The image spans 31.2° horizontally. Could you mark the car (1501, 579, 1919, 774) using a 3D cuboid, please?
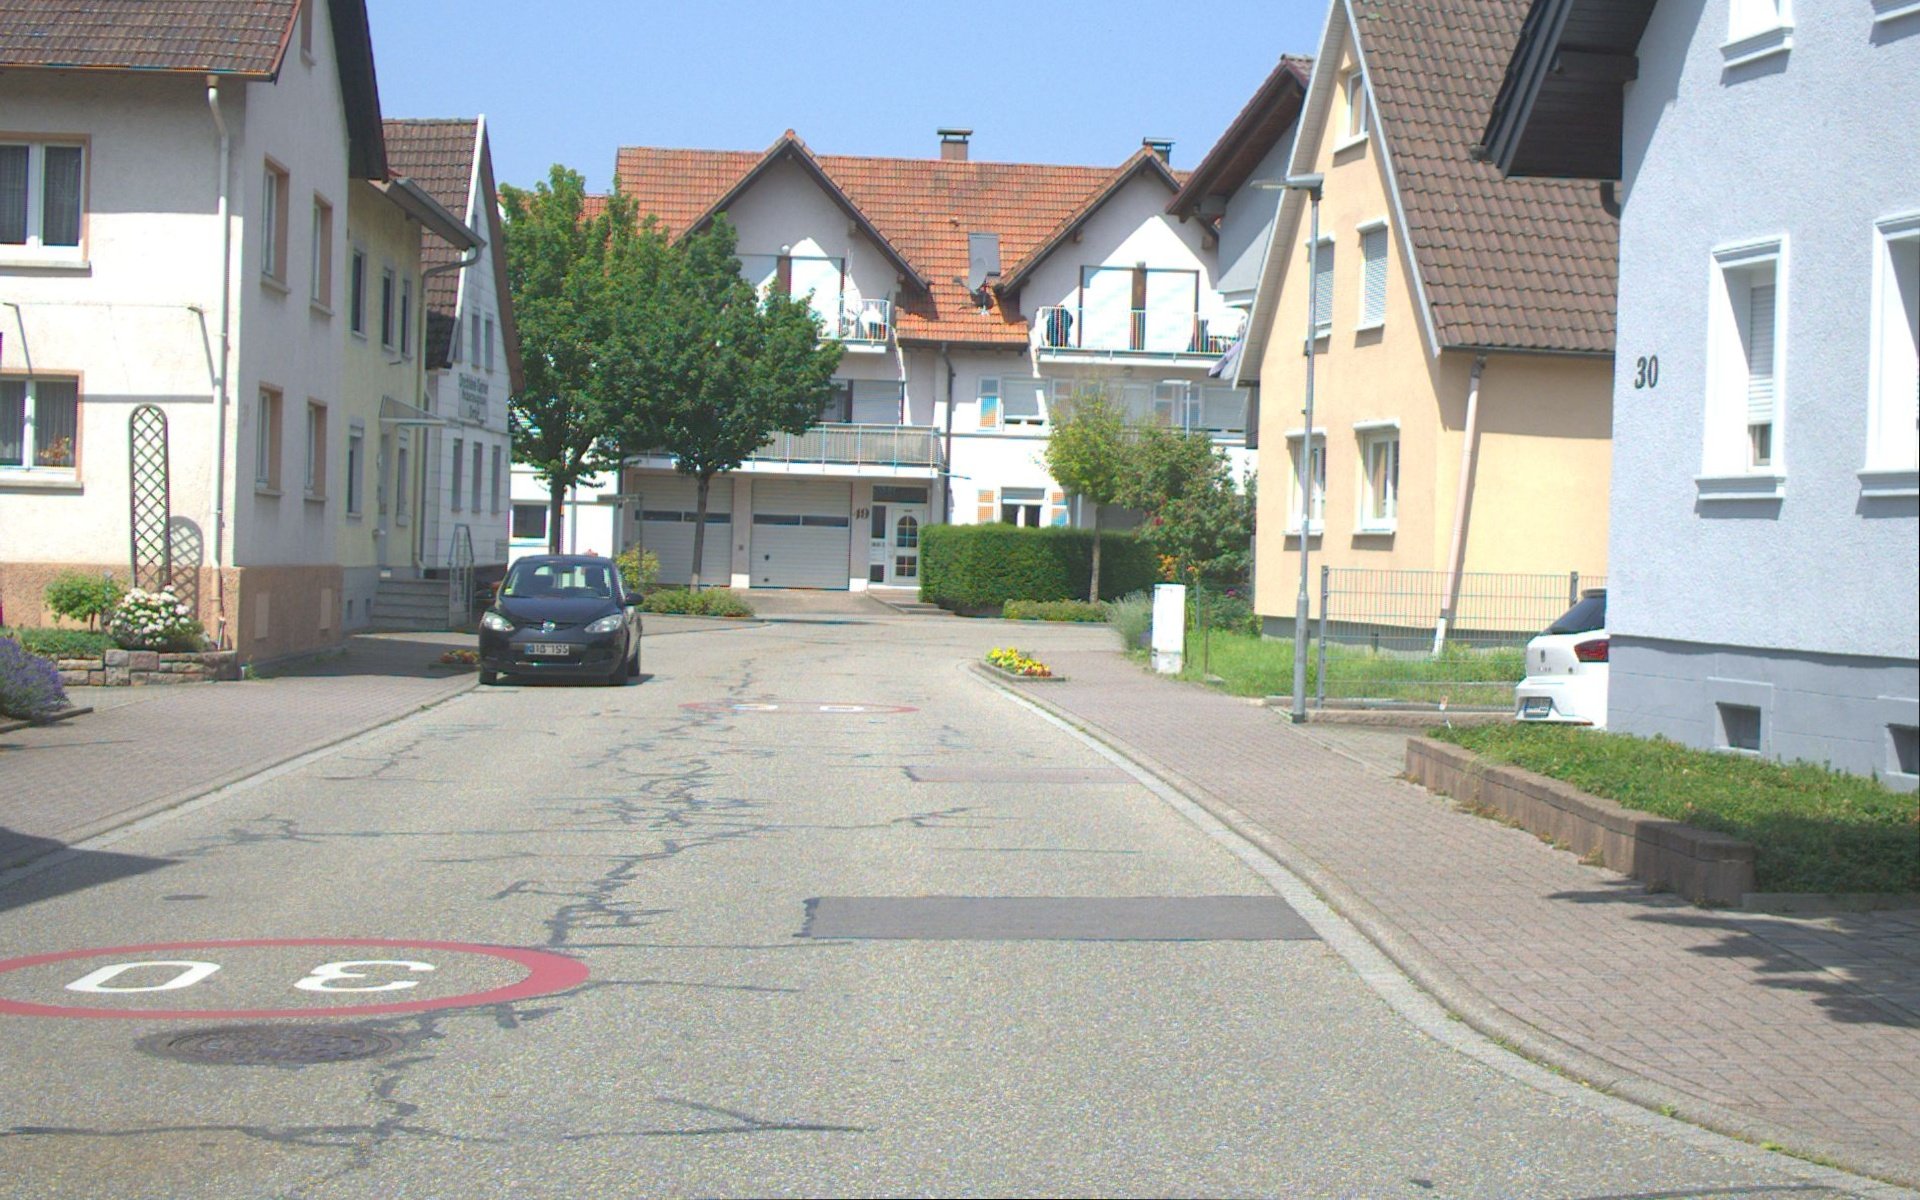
[{"bbox_3d":[5.636,0.551,25.013,3.042,1.341,1.423,1,0,-9],"label":"car"}]

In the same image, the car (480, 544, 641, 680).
[{"bbox_3d":[-4.605,0.098,40.020,1.626,1.481,4.001,1,1,-4],"label":"car"}]
